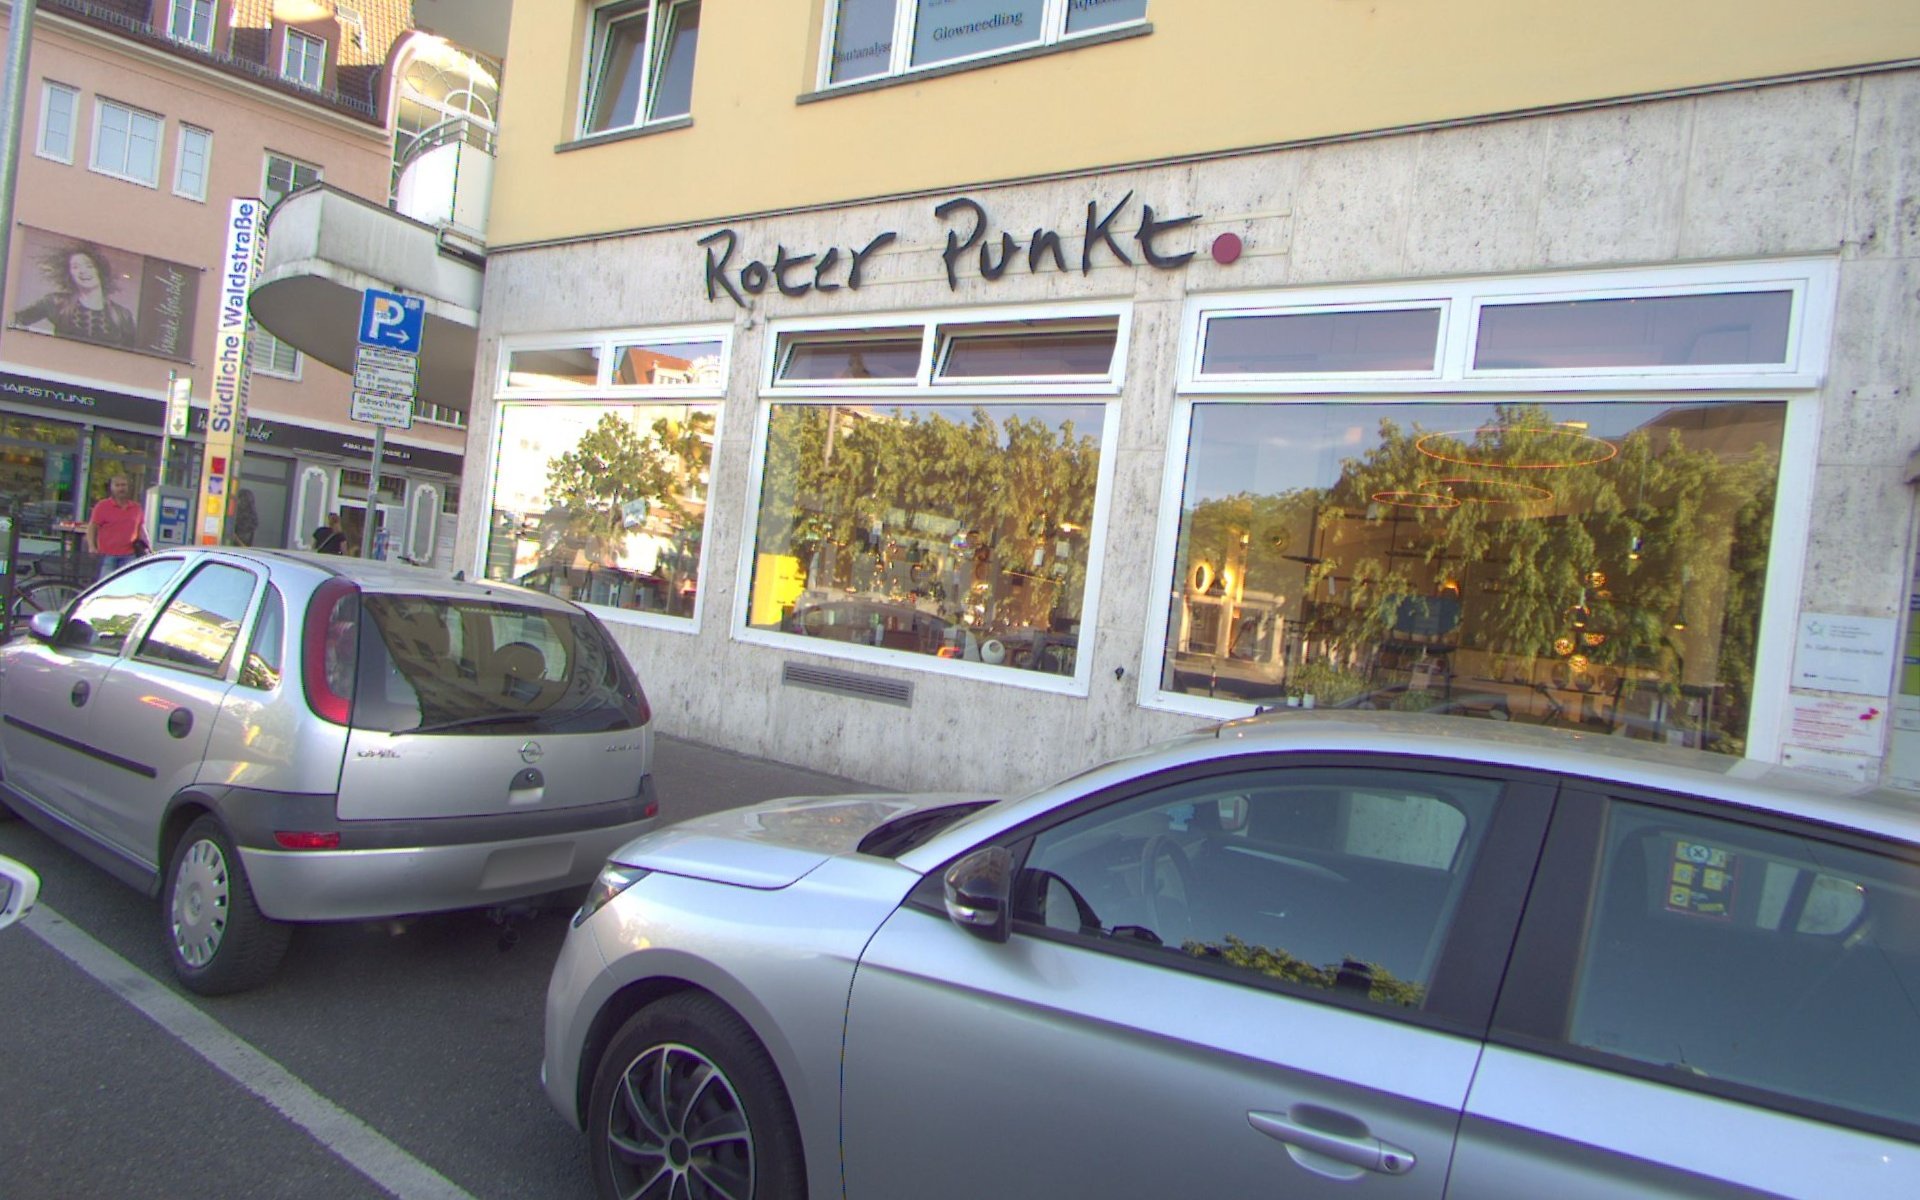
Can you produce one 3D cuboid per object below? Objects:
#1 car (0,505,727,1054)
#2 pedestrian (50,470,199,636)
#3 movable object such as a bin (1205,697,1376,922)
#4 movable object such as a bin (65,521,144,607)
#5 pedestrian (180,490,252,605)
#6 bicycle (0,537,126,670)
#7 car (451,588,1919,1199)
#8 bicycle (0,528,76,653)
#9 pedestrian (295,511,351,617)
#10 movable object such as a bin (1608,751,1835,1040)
[{"bbox_3d":[-2.951,0.481,4.450,3.520,1.443,1.587,6,-2,32],"label":"car"},{"bbox_3d":[-9.785,-0.537,11.782,1.098,1.739,1.056,6,-2,43],"label":"pedestrian"},{"bbox_3d":[1.811,1.092,5.478,0.639,1.035,0.738,6,-1,31],"label":"movable object such as a bin"},{"bbox_3d":[-11.950,-0.500,14.054,0.716,1.117,0.636,7,2,35],"label":"movable object such as a bin"},{"bbox_3d":[-12.781,-0.901,17.288,0.879,1.875,0.680,6,3,33],"label":"pedestrian"},{"bbox_3d":[-8.159,0.001,8.243,0.642,1.057,1.884,7,0,33],"label":"bicycle"},{"bbox_3d":[0.785,0.941,2.271,3.624,1.453,1.587,6,-2,30],"label":"car"},{"bbox_3d":[-9.051,-0.153,8.787,0.642,1.072,1.816,7,-1,33],"label":"bicycle"},{"bbox_3d":[-11.234,-0.634,17.729,0.716,1.777,0.780,4,2,-34],"label":"pedestrian"},{"bbox_3d":[3.378,1.262,4.536,0.639,1.035,0.738,6,-1,31],"label":"movable object such as a bin"}]
